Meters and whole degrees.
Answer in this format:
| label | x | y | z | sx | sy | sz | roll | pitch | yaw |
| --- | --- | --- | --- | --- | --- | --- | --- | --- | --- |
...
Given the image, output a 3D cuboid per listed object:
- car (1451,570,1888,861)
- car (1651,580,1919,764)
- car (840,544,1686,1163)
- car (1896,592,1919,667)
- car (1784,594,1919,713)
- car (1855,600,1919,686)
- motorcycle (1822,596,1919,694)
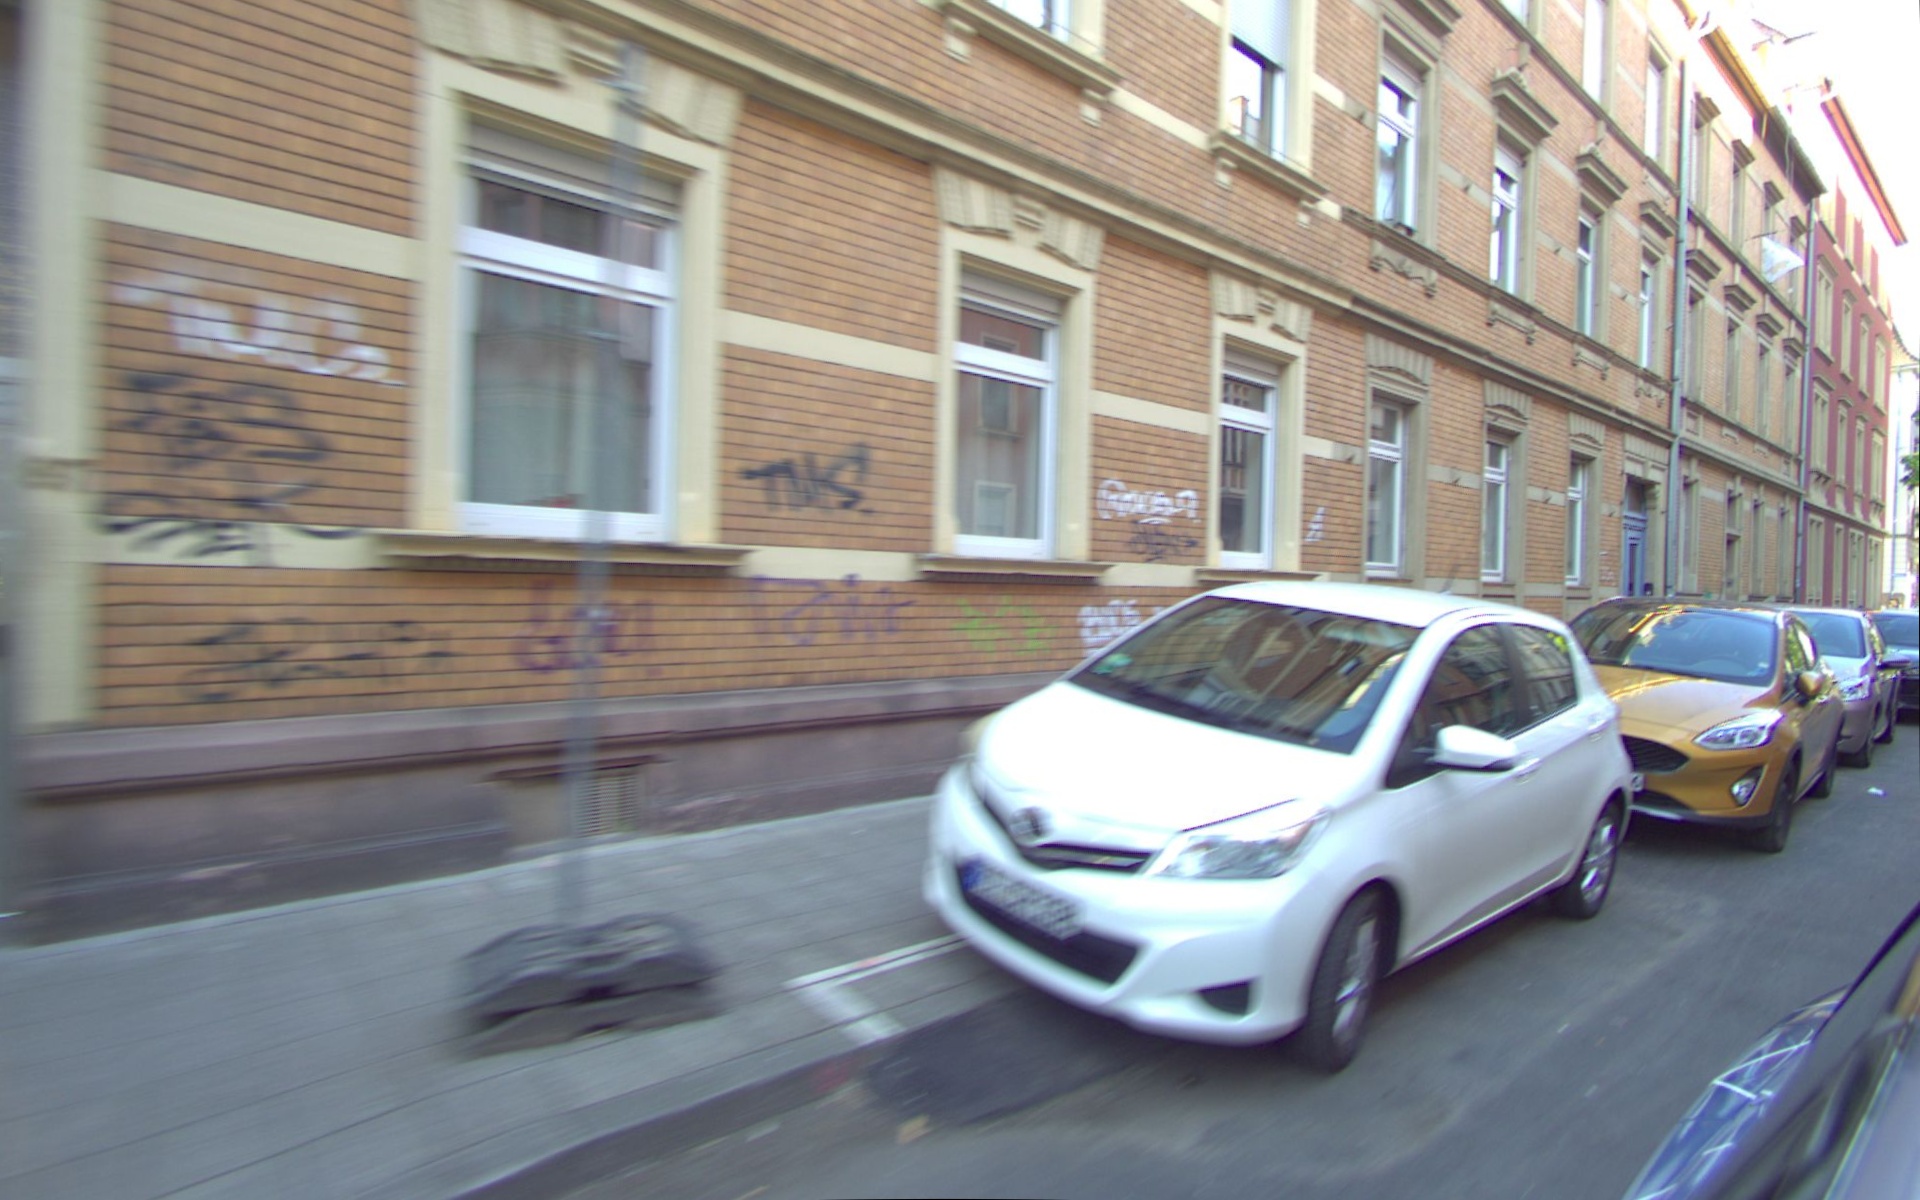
| label | x | y | z | sx | sy | sz | roll | pitch | yaw |
| --- | --- | --- | --- | --- | --- | --- | --- | --- | --- |
| car | 5.390 | 0.603 | 7.481 | 4.000 | 1.463 | 1.757 | 0 | 5 | -43 |
| car | 8.938 | 0.619 | 10.710 | 4.024 | 1.434 | 1.729 | 0 | 6 | -43 |
| car | 1.636 | 0.622 | 4.561 | 4.012 | 1.498 | 1.725 | 0 | 5 | -42 |
| car | 21.473 | 0.632 | 21.530 | 4.323 | 1.502 | 1.766 | 1 | 2 | -41 |
| car | 13.078 | 0.676 | 14.077 | 4.241 | 1.414 | 1.781 | 1 | 1 | -41 |
| car | 17.713 | 0.749 | 18.328 | 3.922 | 1.423 | 1.695 | 1 | 2 | -41 |
| motorcycle | 15.553 | 0.711 | 16.403 | 2.201 | 1.556 | 0.883 | 0 | -1 | 24 |
